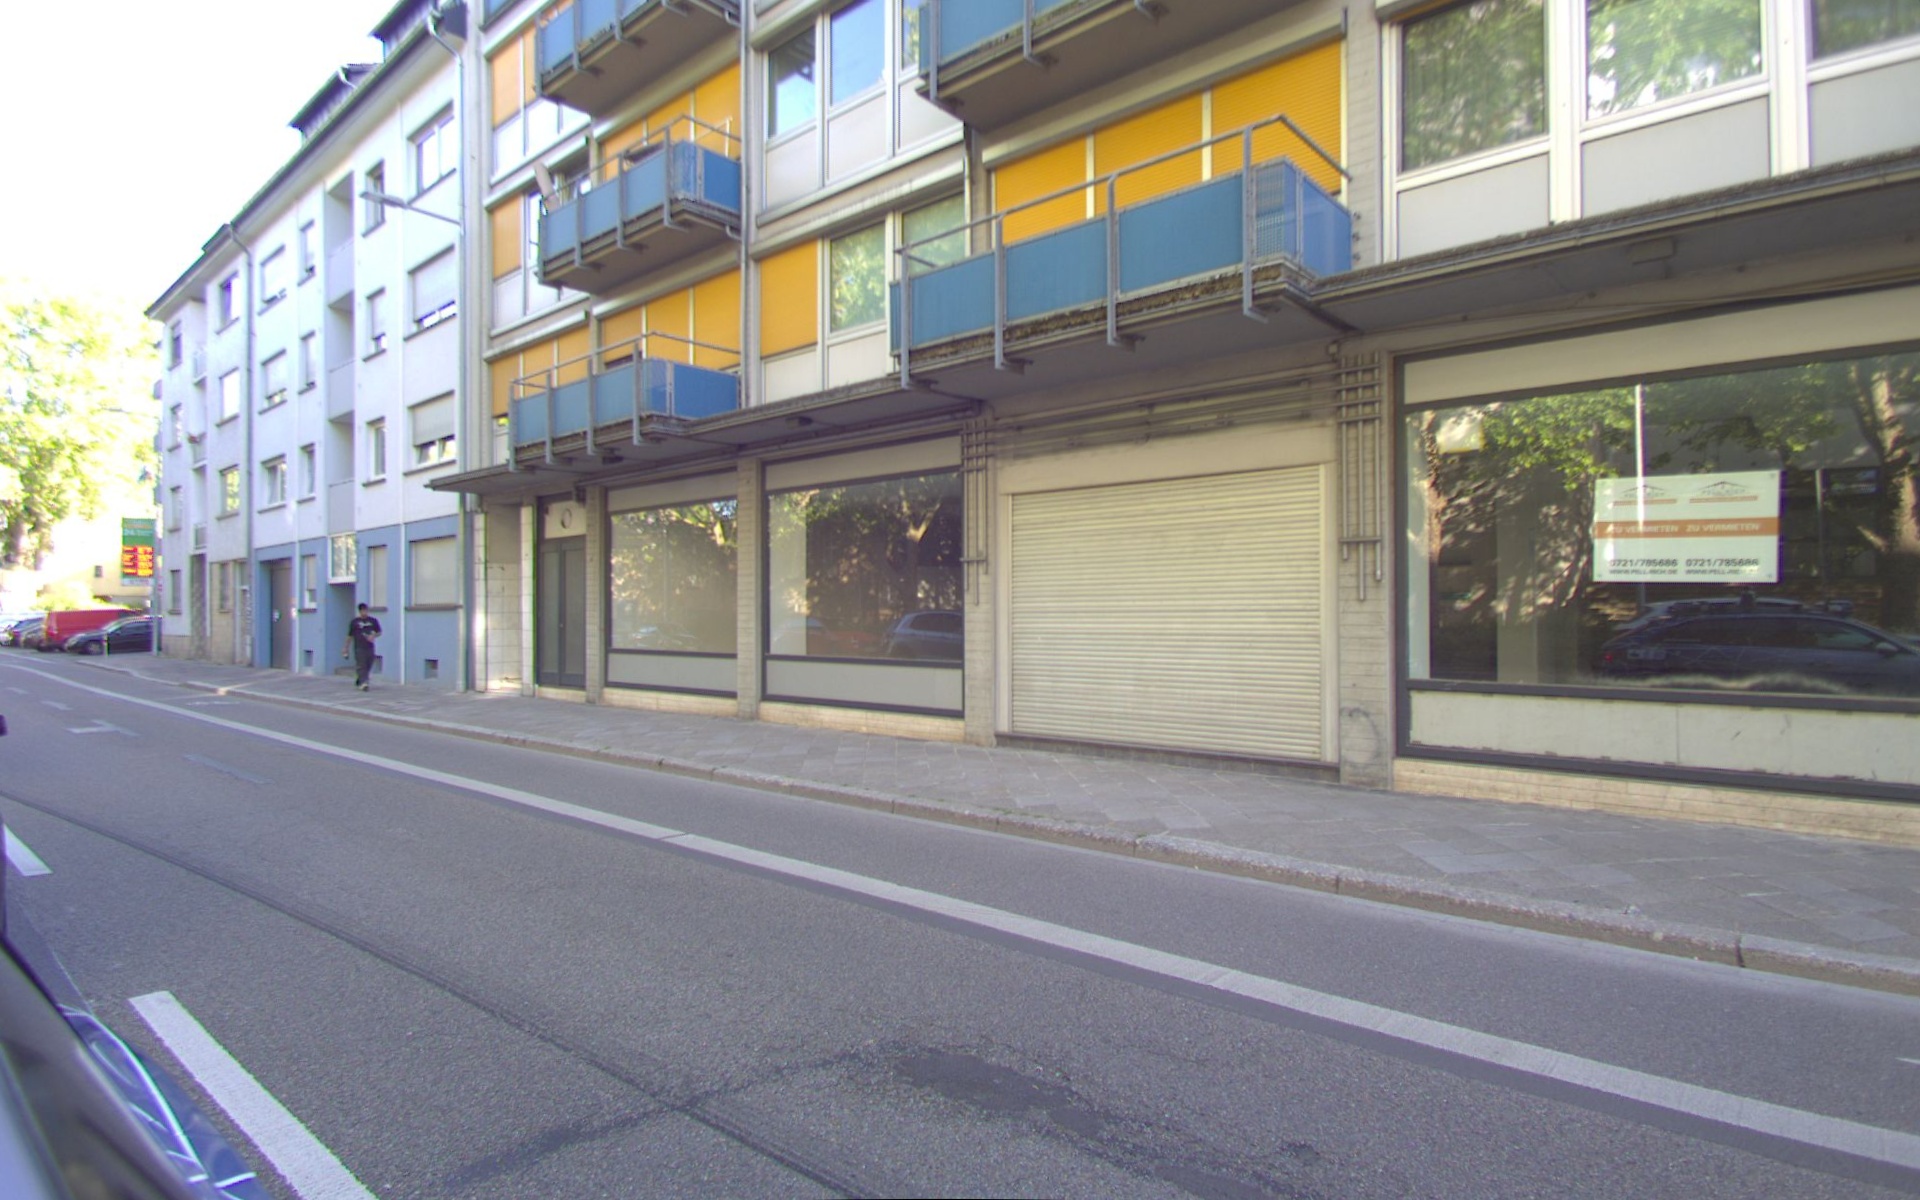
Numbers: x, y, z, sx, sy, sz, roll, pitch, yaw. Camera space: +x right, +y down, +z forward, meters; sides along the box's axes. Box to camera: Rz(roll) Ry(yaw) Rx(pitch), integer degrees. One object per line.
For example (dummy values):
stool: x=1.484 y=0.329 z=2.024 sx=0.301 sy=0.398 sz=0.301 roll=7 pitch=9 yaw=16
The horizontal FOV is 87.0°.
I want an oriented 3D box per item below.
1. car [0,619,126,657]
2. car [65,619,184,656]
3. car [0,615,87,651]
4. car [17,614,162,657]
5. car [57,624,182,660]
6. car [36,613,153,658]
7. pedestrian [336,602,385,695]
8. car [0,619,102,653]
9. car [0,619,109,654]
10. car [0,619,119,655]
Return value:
car: x=-50.303 y=2.083 z=56.840 sx=2.186 sy=1.952 sz=5.077 roll=-1 pitch=-1 yaw=41
car: x=-37.882 y=1.676 z=45.952 sx=1.742 sy=1.572 sz=3.946 roll=-1 pitch=-1 yaw=41
car: x=-59.349 y=2.095 z=64.722 sx=2.186 sy=2.164 sz=5.077 roll=-1 pitch=-1 yaw=41
car: x=-42.696 y=1.698 z=49.724 sx=2.256 sy=1.995 sz=5.156 roll=-1 pitch=-1 yaw=41
car: x=-36.558 y=1.785 z=44.087 sx=1.742 sy=1.431 sz=3.946 roll=-1 pitch=-1 yaw=41
car: x=-40.595 y=1.631 z=47.526 sx=1.866 sy=1.952 sz=3.946 roll=-1 pitch=-1 yaw=41
pedestrian: x=-11.882 y=0.949 z=20.053 sx=0.654 sy=1.785 sz=0.794 roll=-1 pitch=-1 yaw=-45
car: x=-55.975 y=2.155 z=61.996 sx=2.314 sy=1.952 sz=4.978 roll=-1 pitch=-1 yaw=41
car: x=-54.128 y=2.128 z=60.365 sx=2.082 sy=1.952 sz=4.928 roll=-1 pitch=-1 yaw=41
car: x=-52.242 y=2.106 z=58.728 sx=2.159 sy=1.952 sz=4.990 roll=-1 pitch=-1 yaw=41
